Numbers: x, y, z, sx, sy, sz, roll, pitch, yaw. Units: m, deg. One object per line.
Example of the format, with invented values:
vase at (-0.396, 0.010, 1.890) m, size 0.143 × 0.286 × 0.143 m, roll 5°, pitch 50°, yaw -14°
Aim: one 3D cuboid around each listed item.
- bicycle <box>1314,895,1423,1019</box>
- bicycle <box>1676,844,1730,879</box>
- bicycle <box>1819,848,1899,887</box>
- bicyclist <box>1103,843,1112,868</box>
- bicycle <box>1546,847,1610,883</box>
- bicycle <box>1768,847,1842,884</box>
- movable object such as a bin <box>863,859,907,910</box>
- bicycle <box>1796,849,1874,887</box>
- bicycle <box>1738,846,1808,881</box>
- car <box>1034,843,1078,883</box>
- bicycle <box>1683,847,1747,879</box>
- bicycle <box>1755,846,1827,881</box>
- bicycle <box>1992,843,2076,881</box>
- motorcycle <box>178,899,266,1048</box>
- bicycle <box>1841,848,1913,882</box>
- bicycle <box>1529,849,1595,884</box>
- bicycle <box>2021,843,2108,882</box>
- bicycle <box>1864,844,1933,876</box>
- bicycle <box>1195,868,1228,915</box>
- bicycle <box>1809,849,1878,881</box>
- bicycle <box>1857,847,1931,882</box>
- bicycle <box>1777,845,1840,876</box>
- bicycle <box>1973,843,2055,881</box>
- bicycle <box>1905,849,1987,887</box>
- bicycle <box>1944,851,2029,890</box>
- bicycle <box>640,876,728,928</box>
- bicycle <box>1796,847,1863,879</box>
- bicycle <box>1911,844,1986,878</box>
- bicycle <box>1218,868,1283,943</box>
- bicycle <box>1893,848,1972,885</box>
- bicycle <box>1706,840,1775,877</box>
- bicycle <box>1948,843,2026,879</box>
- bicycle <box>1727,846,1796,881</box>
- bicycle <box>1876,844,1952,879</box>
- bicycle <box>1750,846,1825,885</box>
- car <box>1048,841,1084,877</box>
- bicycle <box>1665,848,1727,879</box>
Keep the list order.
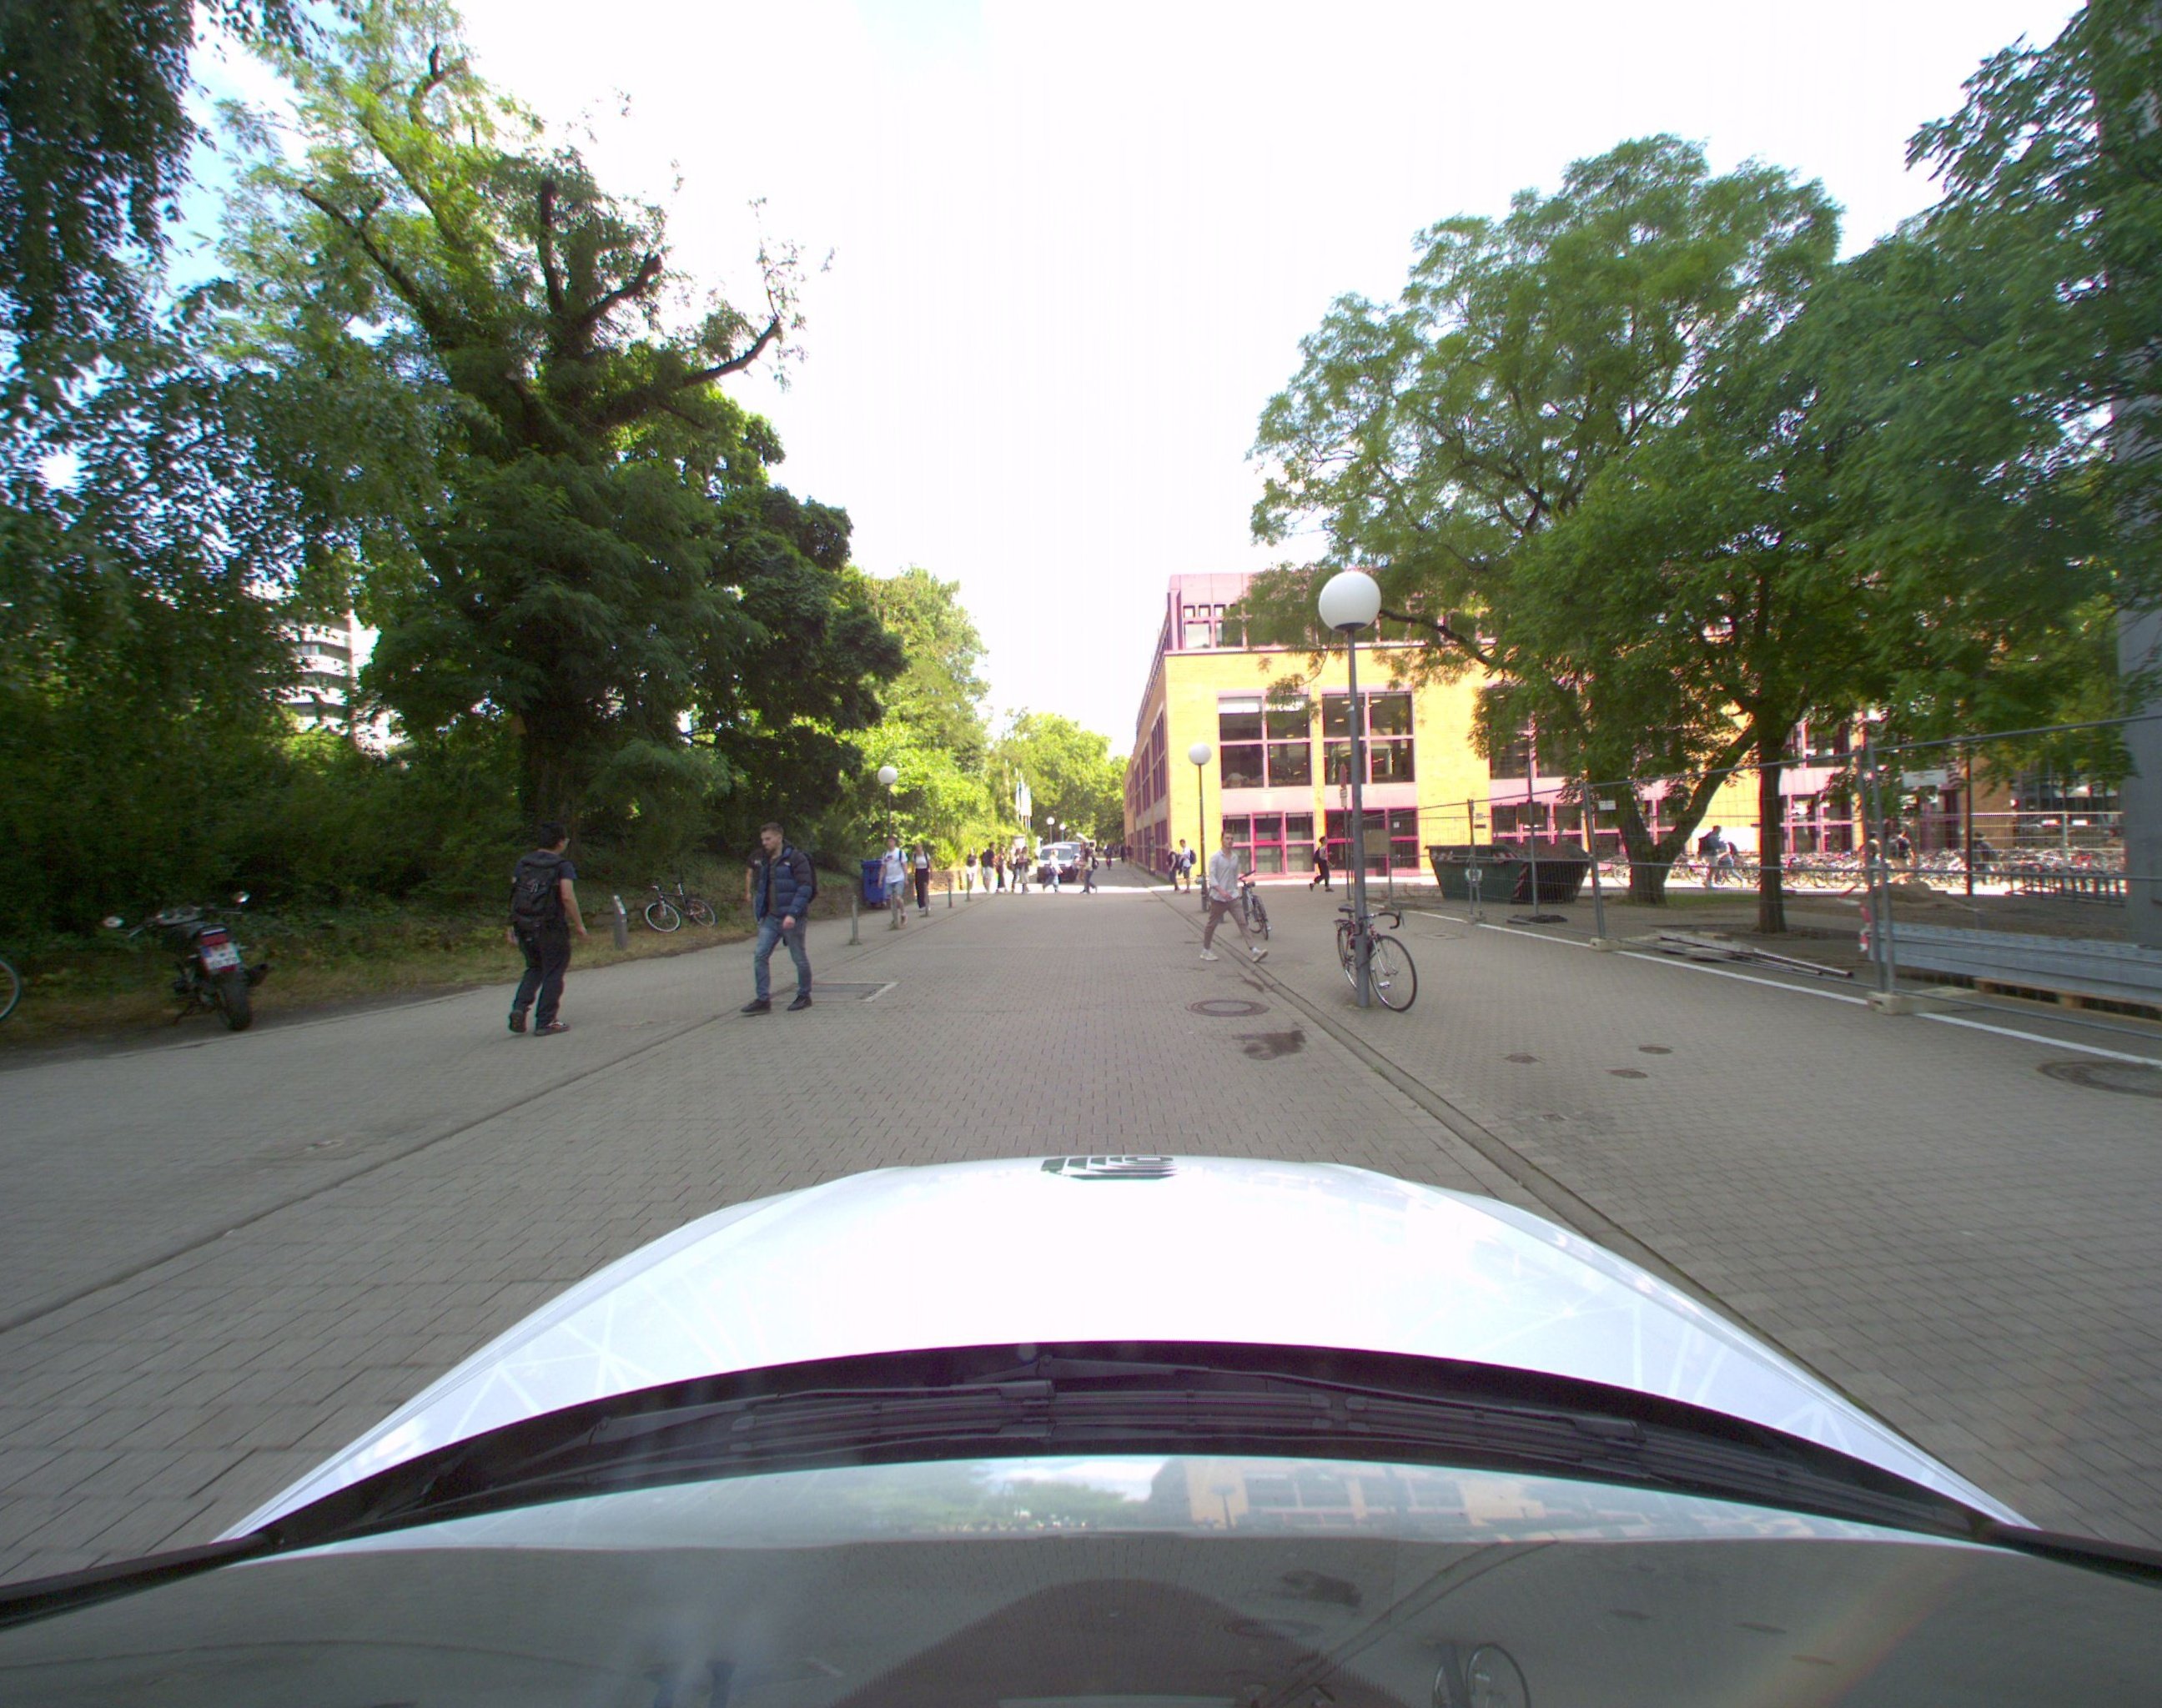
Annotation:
bicycle at (2.685, 0.915, 7.775) m, size 0.394 × 0.936 × 1.732 m, roll -4°, pitch 0°, yaw 1°
bicycle at (21.394, 0.251, 28.019) m, size 1.809 × 1.169 × 0.472 m, roll 0°, pitch 0°, yaw -16°
bicycle at (23.605, 0.393, 24.717) m, size 1.989 × 1.169 × 0.474 m, roll 0°, pitch 0°, yaw 0°
bicyclist at (1.876, 0.119, 58.019) m, size 0.585 × 1.716 × 0.665 m, roll -2°, pitch 0°, yaw -2°
bicycle at (15.511, 0.340, 25.440) m, size 1.686 × 1.110 × 0.475 m, roll -1°, pitch 0°, yaw 4°
bicycle at (23.482, 0.361, 26.419) m, size 1.989 × 1.169 × 0.474 m, roll 0°, pitch 0°, yaw 0°
movable object such as a bin at (-5.373, 0.820, 22.394) m, size 0.704 × 1.336 × 1.243 m, roll 1°, pitch 0°, yaw 11°
bicycle at (23.452, 0.425, 25.342) m, size 1.989 × 1.169 × 0.474 m, roll 0°, pitch 0°, yaw 0°
bicycle at (23.386, 0.319, 27.534) m, size 1.989 × 1.169 × 0.474 m, roll 0°, pitch 0°, yaw 0°
car at (-1.149, 0.386, 39.200) m, size 1.784 × 1.761 × 4.483 m, roll -2°, pitch 0°, yaw 1°
bicycle at (23.398, 0.332, 30.065) m, size 1.990 × 1.169 × 0.474 m, roll 0°, pitch 0°, yaw -1°
bicycle at (23.538, 0.311, 27.005) m, size 1.989 × 1.169 × 0.474 m, roll 0°, pitch 0°, yaw 0°
bicycle at (29.828, 0.249, 25.502) m, size 1.989 × 1.169 × 0.545 m, roll 0°, pitch 0°, yaw 0°
motorcycle at (-7.604, 0.980, 7.223) m, size 2.001 × 1.047 × 0.477 m, roll 0°, pitch 1°, yaw 44°
bicycle at (27.600, 0.380, 28.256) m, size 1.989 × 1.169 × 0.545 m, roll 0°, pitch 0°, yaw 0°
bicycle at (15.669, 0.392, 26.561) m, size 1.801 × 1.110 × 0.524 m, roll -1°, pitch 0°, yaw 5°
bicycle at (29.935, 0.262, 24.803) m, size 1.989 × 1.169 × 0.545 m, roll 0°, pitch 0°, yaw 0°
bicycle at (29.946, 0.224, 29.846) m, size 1.989 × 1.169 × 0.545 m, roll 0°, pitch 0°, yaw 0°
bicycle at (3.040, 0.855, 19.088) m, size 0.449 × 0.962 × 1.740 m, roll -4°, pitch 0°, yaw 1°
bicycle at (27.532, 0.392, 29.425) m, size 1.989 × 1.169 × 0.545 m, roll 0°, pitch 0°, yaw 0°
bicycle at (27.632, 0.354, 27.695) m, size 1.989 × 1.169 × 0.545 m, roll 0°, pitch 0°, yaw 0°
bicycle at (27.745, 0.238, 31.063) m, size 1.991 × 1.169 × 0.545 m, roll 0°, pitch 0°, yaw -2°
bicycle at (29.868, 0.250, 26.078) m, size 1.989 × 1.169 × 0.545 m, roll 0°, pitch 0°, yaw 0°
bicycle at (27.190, 0.431, 25.615) m, size 1.989 × 1.169 × 0.545 m, roll 0°, pitch 0°, yaw 0°
bicycle at (27.648, 0.511, 24.877) m, size 1.989 × 1.169 × 0.545 m, roll 0°, pitch 0°, yaw 0°
bicycle at (-7.441, 0.885, 15.345) m, size 0.418 × 0.910 × 1.747 m, roll -2°, pitch -1°, yaw 16°
bicycle at (27.732, 0.317, 30.188) m, size 1.989 × 1.169 × 0.545 m, roll 0°, pitch 0°, yaw 0°
bicycle at (29.741, 0.238, 27.934) m, size 1.989 × 1.169 × 0.545 m, roll 0°, pitch 0°, yaw 0°
bicycle at (2.764, 0.809, 13.460) m, size 0.706 × 1.093 × 1.749 m, roll -2°, pitch 0°, yaw 1°
bicycle at (27.386, 0.399, 26.215) m, size 1.989 × 1.169 × 0.545 m, roll 0°, pitch 0°, yaw 0°
bicycle at (20.996, 0.138, 25.940) m, size 1.799 × 1.169 × 0.474 m, roll 0°, pitch 0°, yaw 1°
bicycle at (29.926, 0.233, 26.917) m, size 1.989 × 1.169 × 0.545 m, roll 0°, pitch 0°, yaw 0°
bicycle at (23.489, 0.318, 28.105) m, size 1.989 × 1.169 × 0.474 m, roll 0°, pitch 0°, yaw 0°
bicycle at (27.661, 0.243, 27.049) m, size 1.989 × 1.169 × 0.545 m, roll 0°, pitch 0°, yaw 0°
bicycle at (21.476, 0.348, 24.774) m, size 1.797 × 1.169 × 0.475 m, roll 0°, pitch 0°, yaw 4°
car at (-0.835, 0.266, 49.143) m, size 1.877 × 1.974 × 5.216 m, roll -2°, pitch 0°, yaw 1°
bicycle at (23.432, 0.345, 31.036) m, size 1.990 × 1.169 × 0.474 m, roll 0°, pitch 0°, yaw -1°
